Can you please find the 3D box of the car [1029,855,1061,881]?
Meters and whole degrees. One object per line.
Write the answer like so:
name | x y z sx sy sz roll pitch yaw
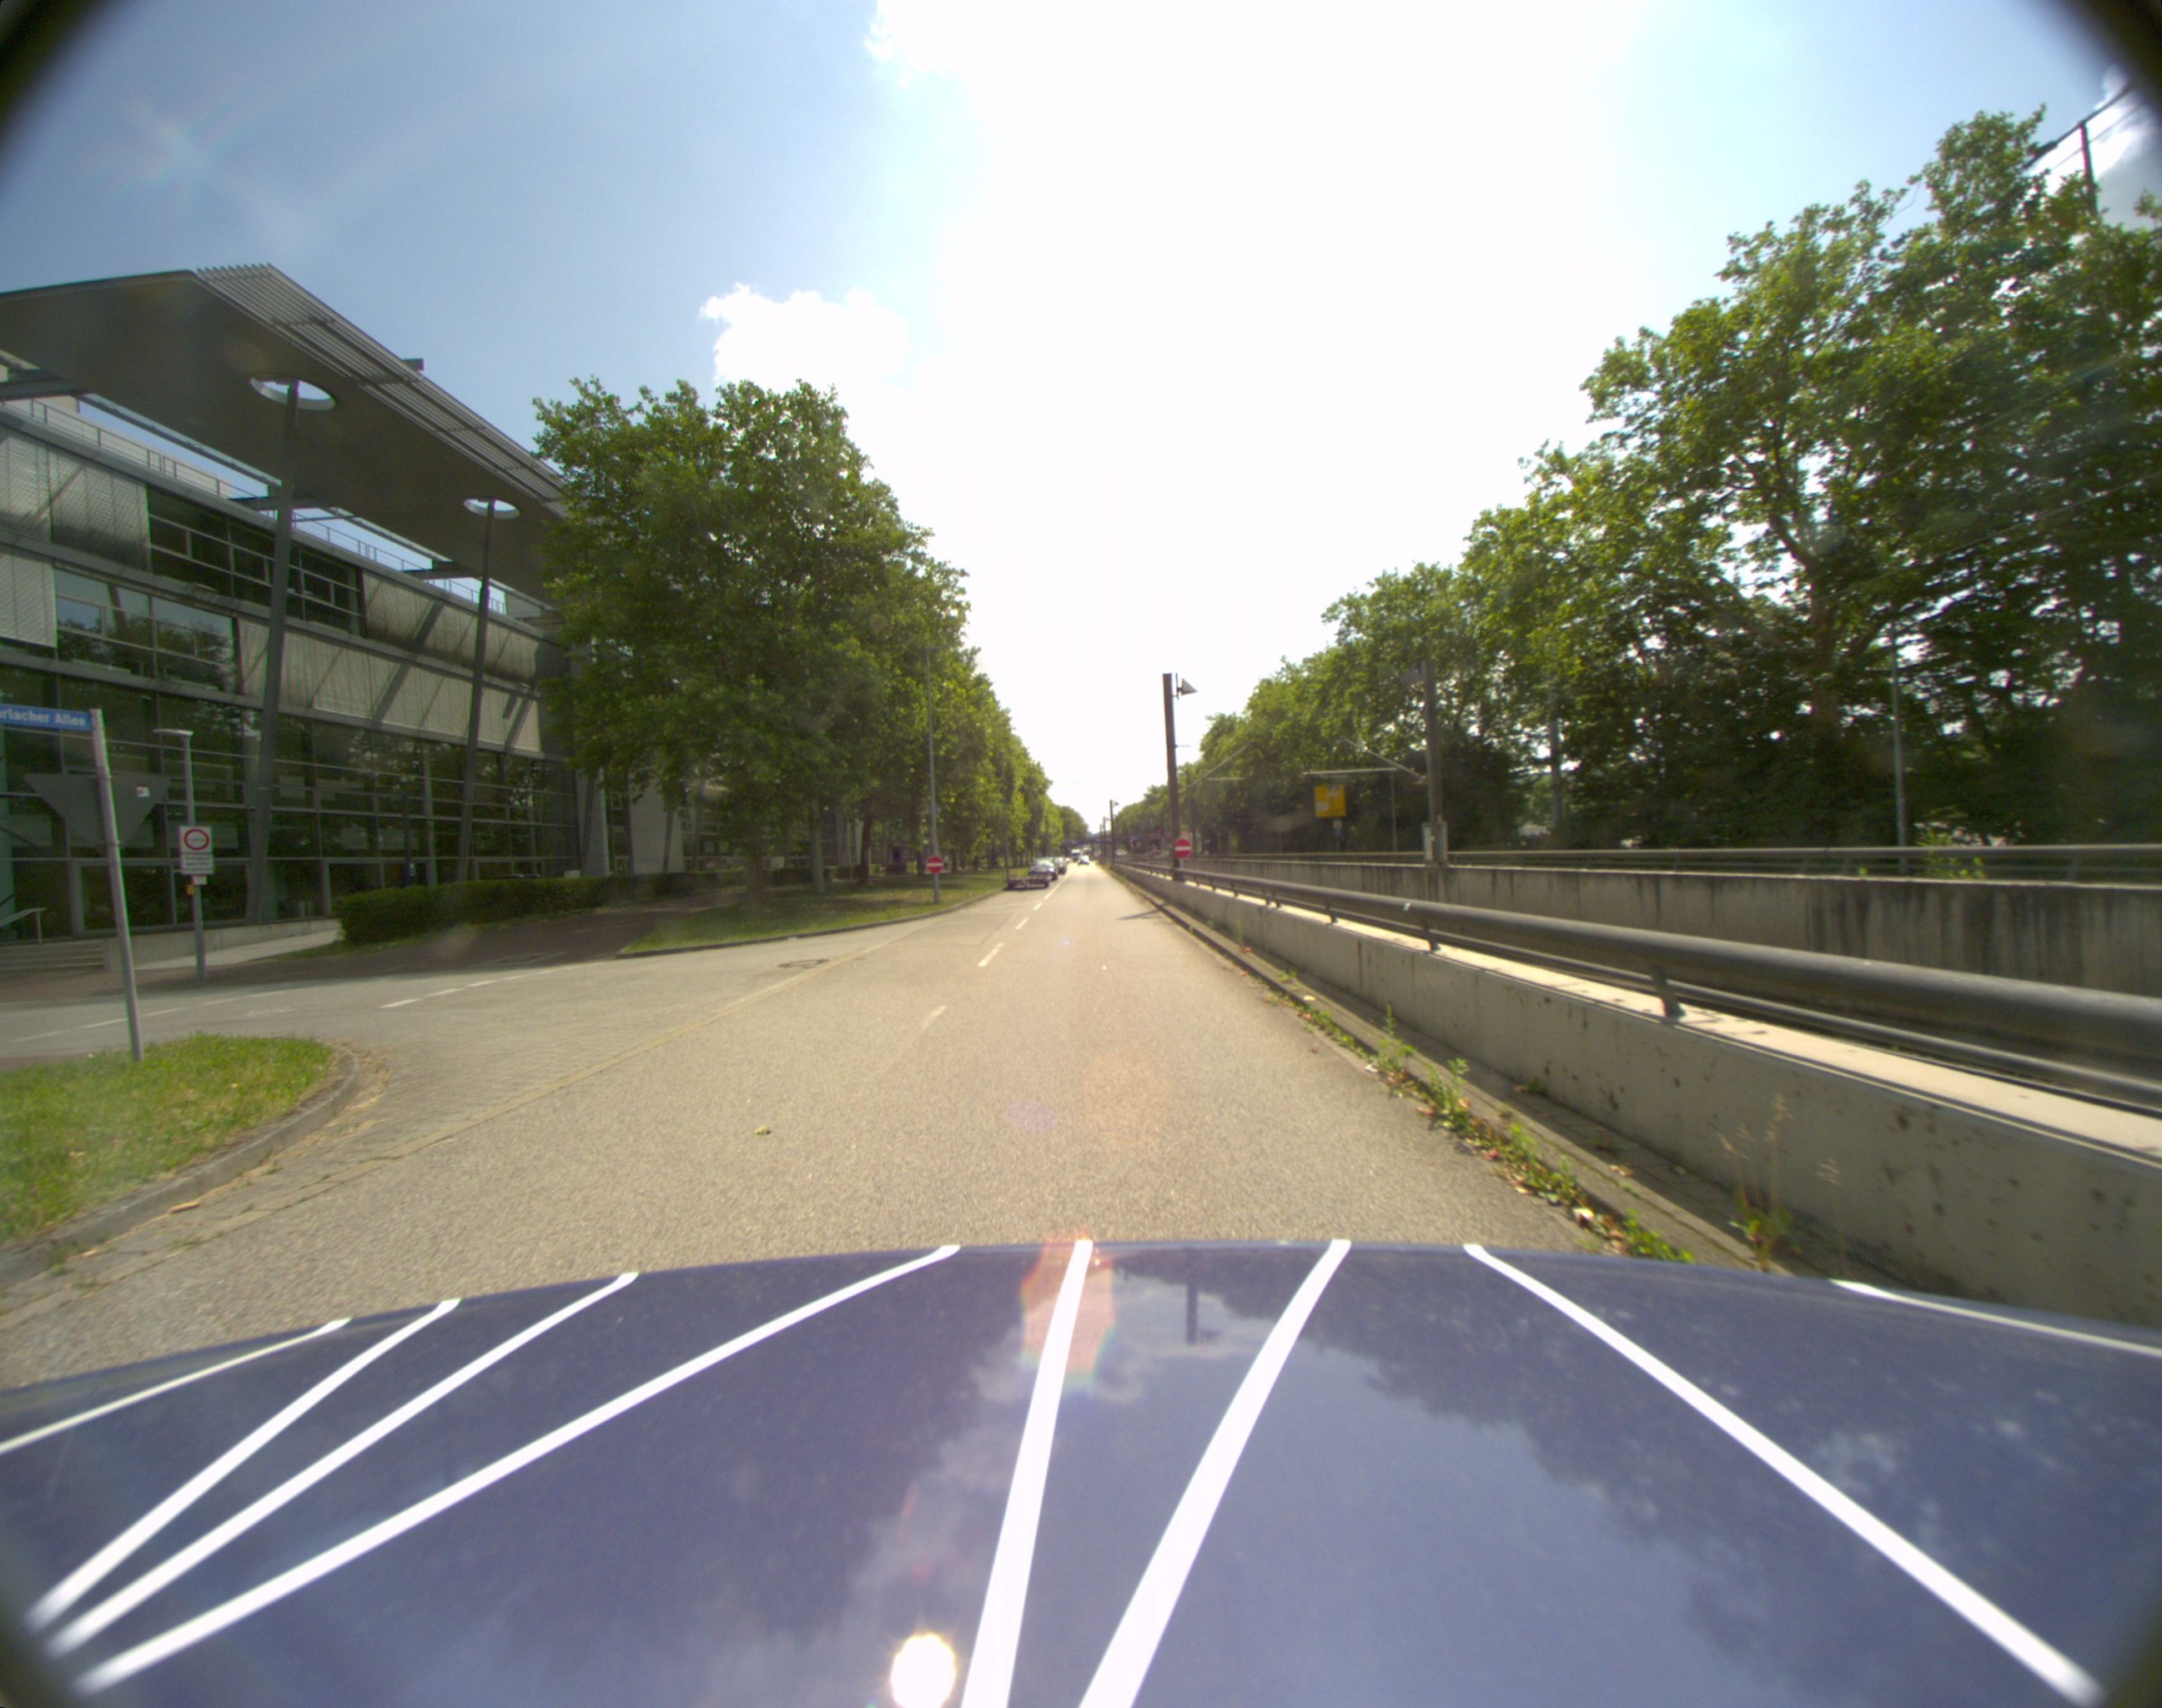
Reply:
car | -2.336 0.911 50.524 1.809 1.496 3.734 -4 1 1

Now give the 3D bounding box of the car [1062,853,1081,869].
car | -0.976 0.710 81.736 1.809 1.496 3.734 -4 1 1

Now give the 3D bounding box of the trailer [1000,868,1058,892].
trailer | -2.553 1.268 38.912 2.303 0.823 6.819 -3 1 1

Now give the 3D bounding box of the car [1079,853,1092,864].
car | 0.740 0.741 127.215 1.998 1.711 4.304 -2 1 1

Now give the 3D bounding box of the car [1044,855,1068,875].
car | -2.159 0.956 66.882 1.809 1.496 3.734 -4 1 1
